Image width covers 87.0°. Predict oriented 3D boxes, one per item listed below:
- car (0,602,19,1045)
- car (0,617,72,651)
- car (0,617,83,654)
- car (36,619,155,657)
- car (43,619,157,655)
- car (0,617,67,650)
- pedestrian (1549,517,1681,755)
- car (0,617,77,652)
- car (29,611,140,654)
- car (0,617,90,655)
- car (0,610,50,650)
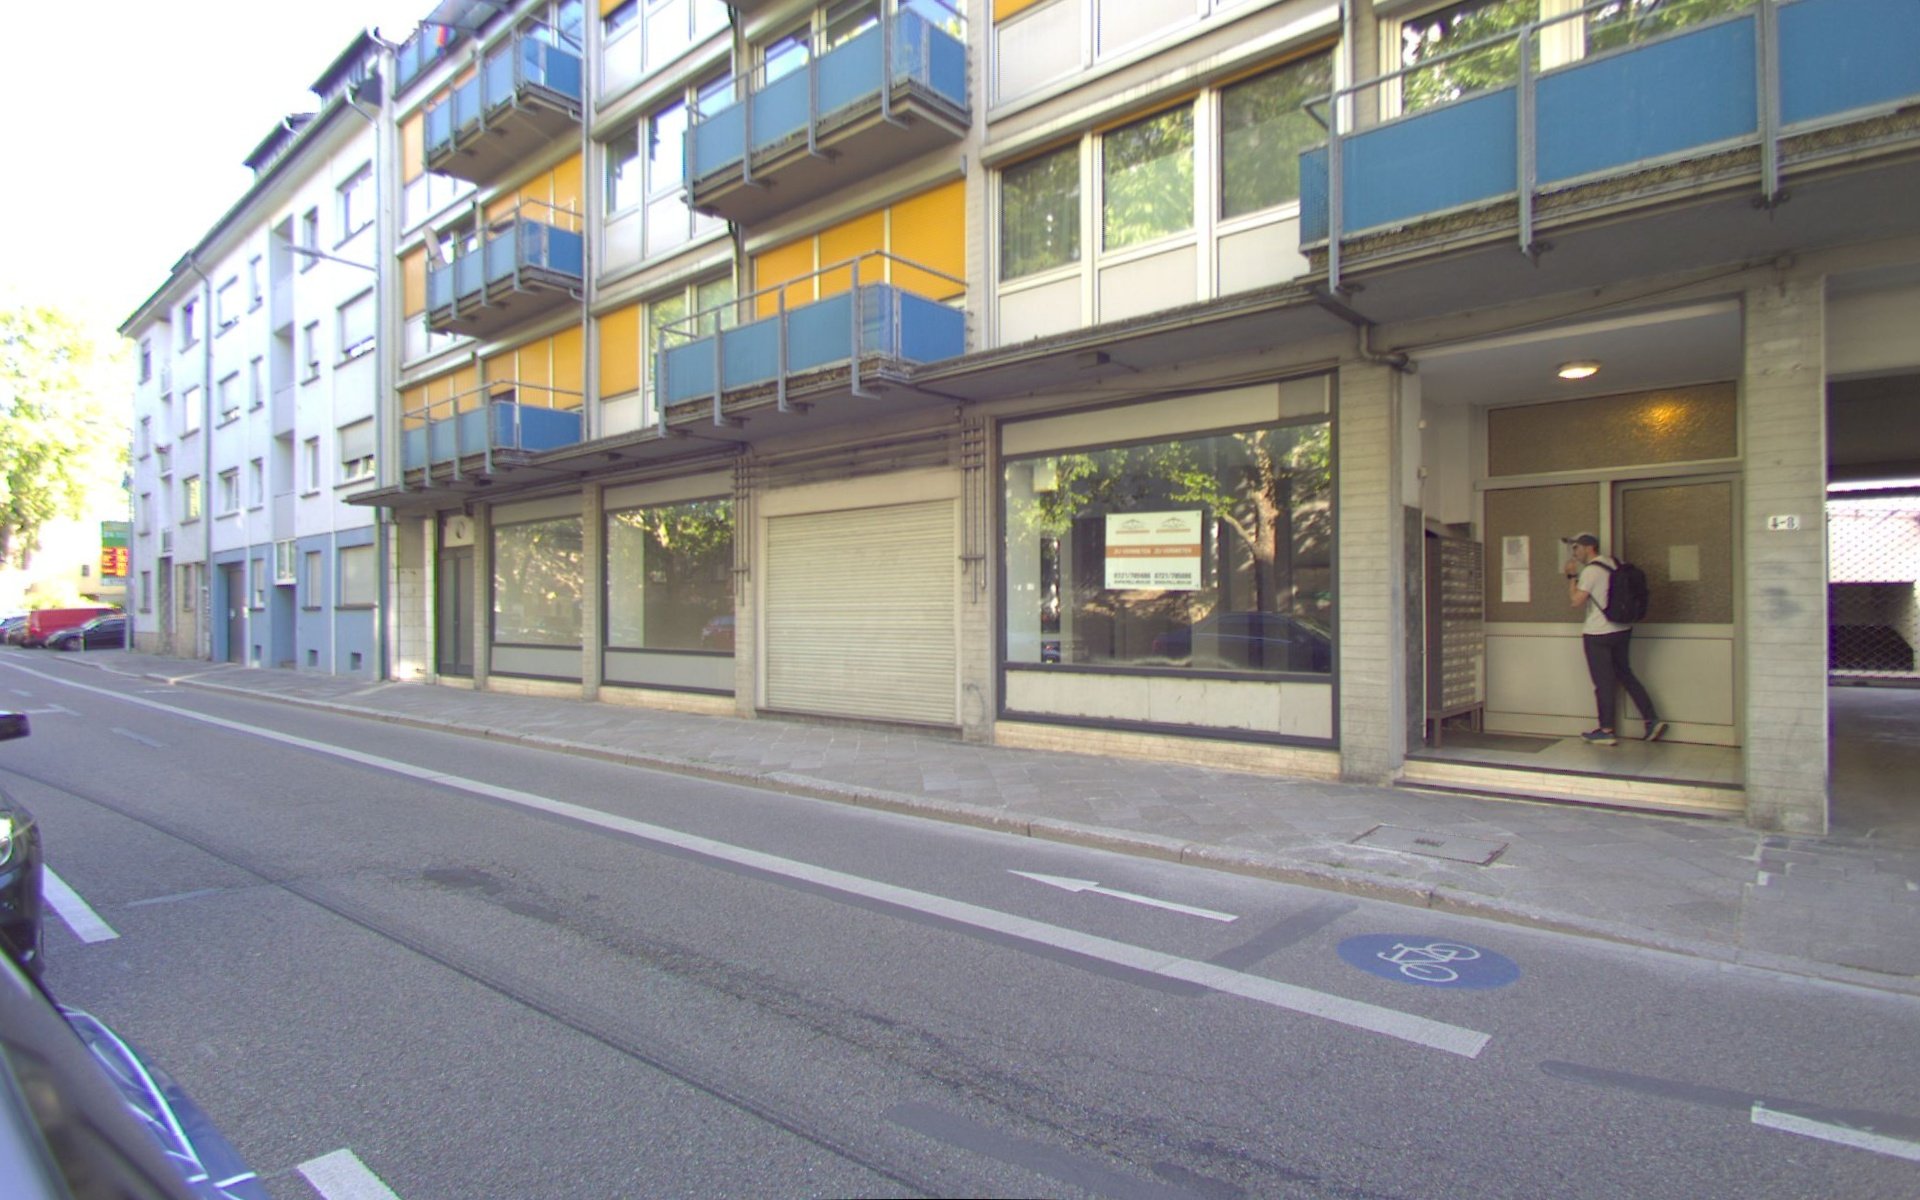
[{"bbox_3d":[-5.535,0.804,4.281,4.479,1.512,1.842,-1,-1,41],"label":"car"},{"bbox_3d":[-57.421,2.083,62.283,2.000,1.962,3.944,-1,0,42],"label":"car"},{"bbox_3d":[-53.535,2.033,58.613,2.000,1.962,3.944,-1,0,42],"label":"car"},{"bbox_3d":[-39.771,1.722,46.606,2.000,1.564,3.944,-1,0,42],"label":"car"},{"bbox_3d":[-41.189,1.740,48.527,2.000,1.564,3.944,-1,0,42],"label":"car"},{"bbox_3d":[-59.221,2.106,64.016,2.000,1.962,3.944,-1,0,42],"label":"car"},{"bbox_3d":[5.444,0.293,8.457,0.780,1.894,0.578,-1,0,19],"label":"pedestrian"},{"bbox_3d":[-55.616,2.060,60.565,2.000,1.962,3.944,-1,0,42],"label":"car"},{"bbox_3d":[-43.444,1.570,50.252,2.000,1.962,3.944,-1,0,42],"label":"car"},{"bbox_3d":[-51.584,2.008,56.830,2.000,1.962,3.944,-1,0,42],"label":"car"},{"bbox_3d":[-62.813,1.953,66.785,2.000,2.538,3.944,-1,0,42],"label":"car"}]
